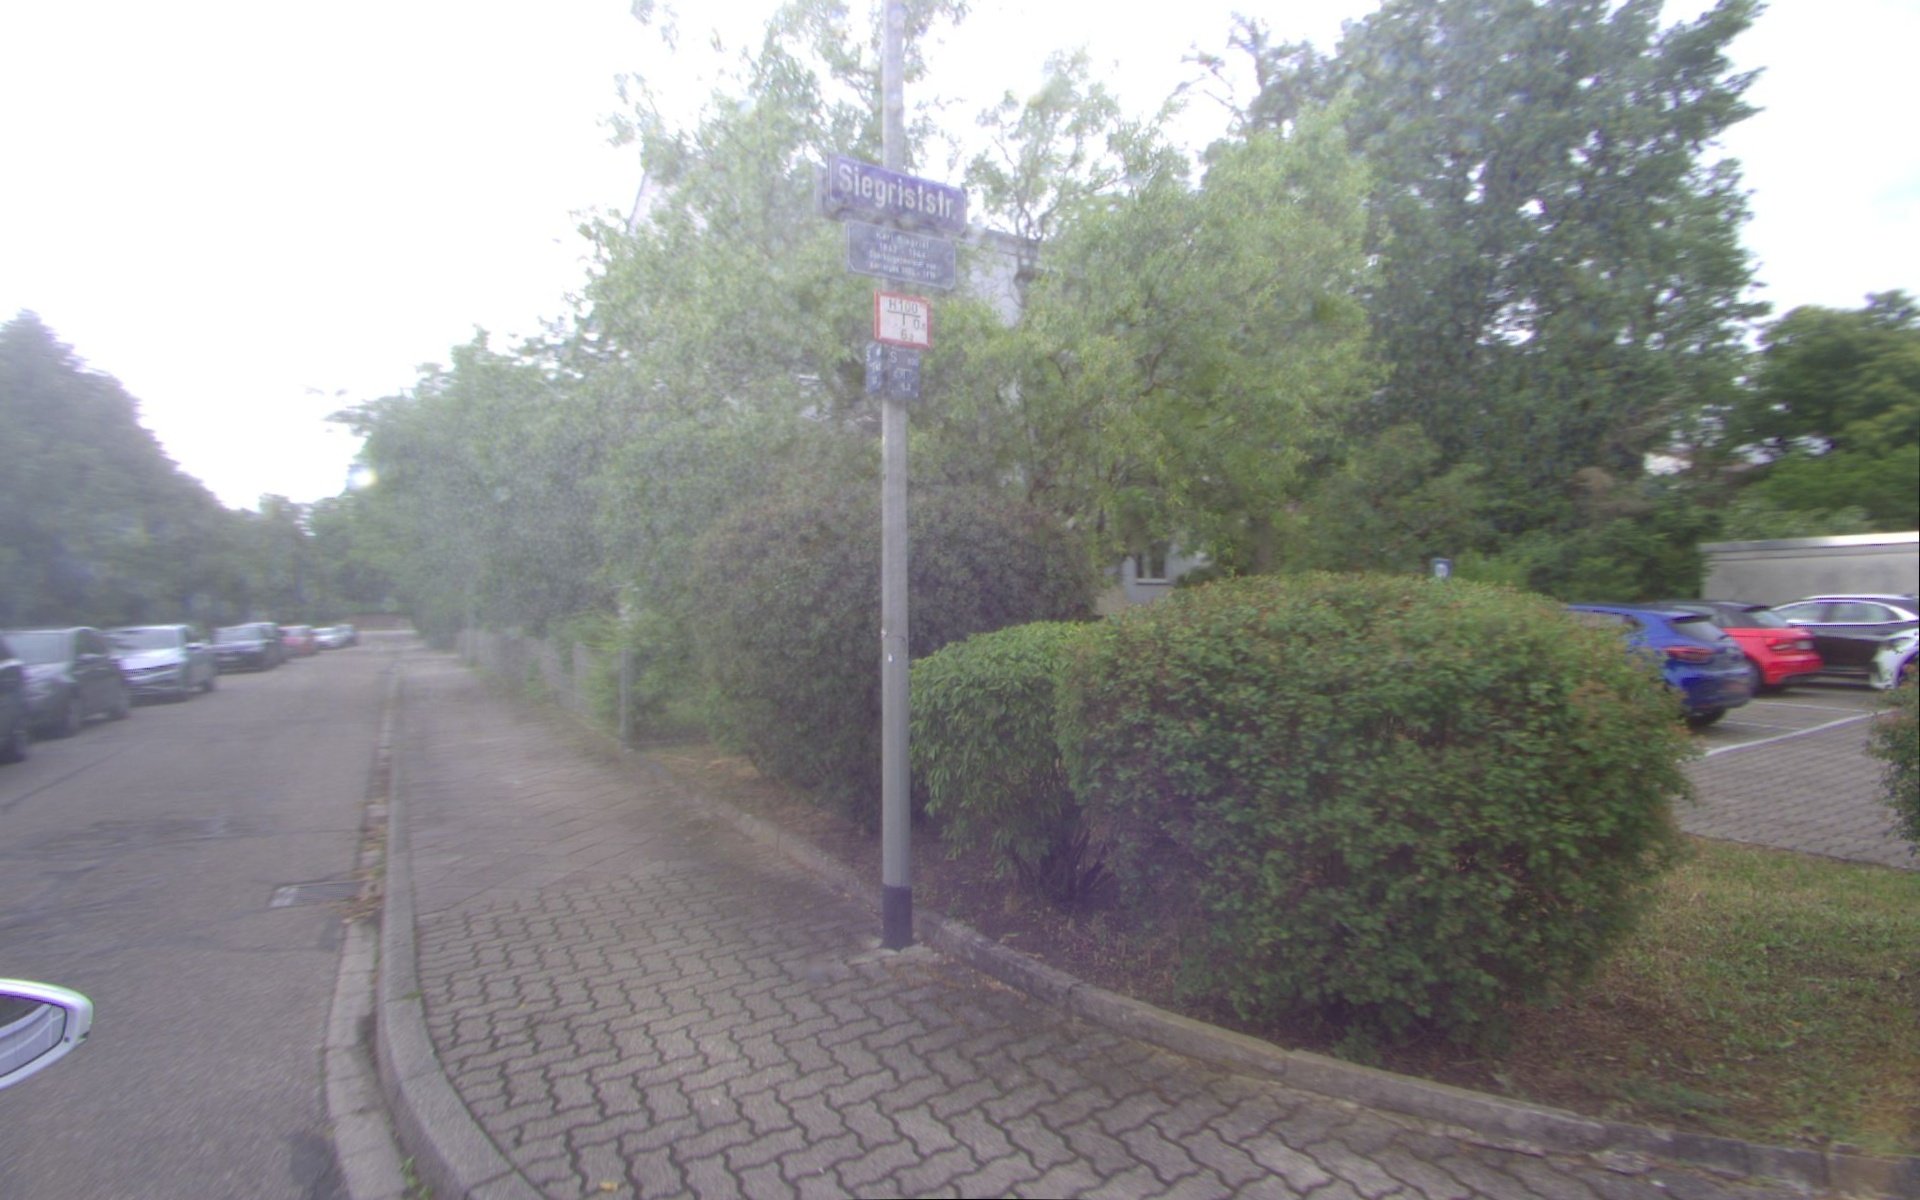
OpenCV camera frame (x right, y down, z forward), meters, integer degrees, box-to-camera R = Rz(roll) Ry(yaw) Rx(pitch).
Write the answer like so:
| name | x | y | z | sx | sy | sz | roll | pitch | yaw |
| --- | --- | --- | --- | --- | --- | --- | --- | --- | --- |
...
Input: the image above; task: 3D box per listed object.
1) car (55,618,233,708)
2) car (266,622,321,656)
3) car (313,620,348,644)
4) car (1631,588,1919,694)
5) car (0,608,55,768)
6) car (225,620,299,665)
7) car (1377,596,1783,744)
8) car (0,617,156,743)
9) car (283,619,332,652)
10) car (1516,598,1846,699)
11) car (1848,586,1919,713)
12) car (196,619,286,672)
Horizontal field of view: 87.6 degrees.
| name | x | y | z | sx | sy | sz | roll | pitch | yaw |
| --- | --- | --- | --- | --- | --- | --- | --- | --- | --- |
| car | -15.795 | 1.133 | 19.638 | 1.755 | 1.447 | 4.458 | -3 | 1 | -27 |
| car | -31.328 | 1.803 | 47.151 | 1.731 | 1.444 | 3.981 | -3 | 1 | -29 |
| car | -42.049 | 2.125 | 66.923 | 1.731 | 1.539 | 3.981 | -1 | 0 | -29 |
| car | 13.822 | 0.623 | 16.733 | 1.977 | 1.572 | 3.967 | -1 | 0 | -39 |
| car | -10.309 | 0.923 | 9.360 | 1.737 | 1.615 | 4.529 | -3 | 1 | -30 |
| car | -25.820 | 1.522 | 37.151 | 1.731 | 1.444 | 3.981 | -3 | 1 | -29 |
| car | 7.566 | 0.746 | 12.583 | 2.000 | 1.530 | 3.886 | 0 | 0 | -33 |
| car | -13.019 | 1.042 | 14.111 | 1.736 | 1.498 | 4.286 | -3 | 1 | -27 |
| car | -33.564 | 1.793 | 51.621 | 1.731 | 1.540 | 3.981 | -3 | 1 | -29 |
| car | 11.382 | 0.692 | 16.063 | 1.945 | 1.399 | 3.886 | 0 | 0 | -33 |
| car | 13.869 | 0.620 | 11.956 | 1.960 | 1.609 | 4.527 | 0 | 0 | -31 |
| car | -22.277 | 1.366 | 31.176 | 1.731 | 1.444 | 3.981 | -3 | 1 | -29 |
